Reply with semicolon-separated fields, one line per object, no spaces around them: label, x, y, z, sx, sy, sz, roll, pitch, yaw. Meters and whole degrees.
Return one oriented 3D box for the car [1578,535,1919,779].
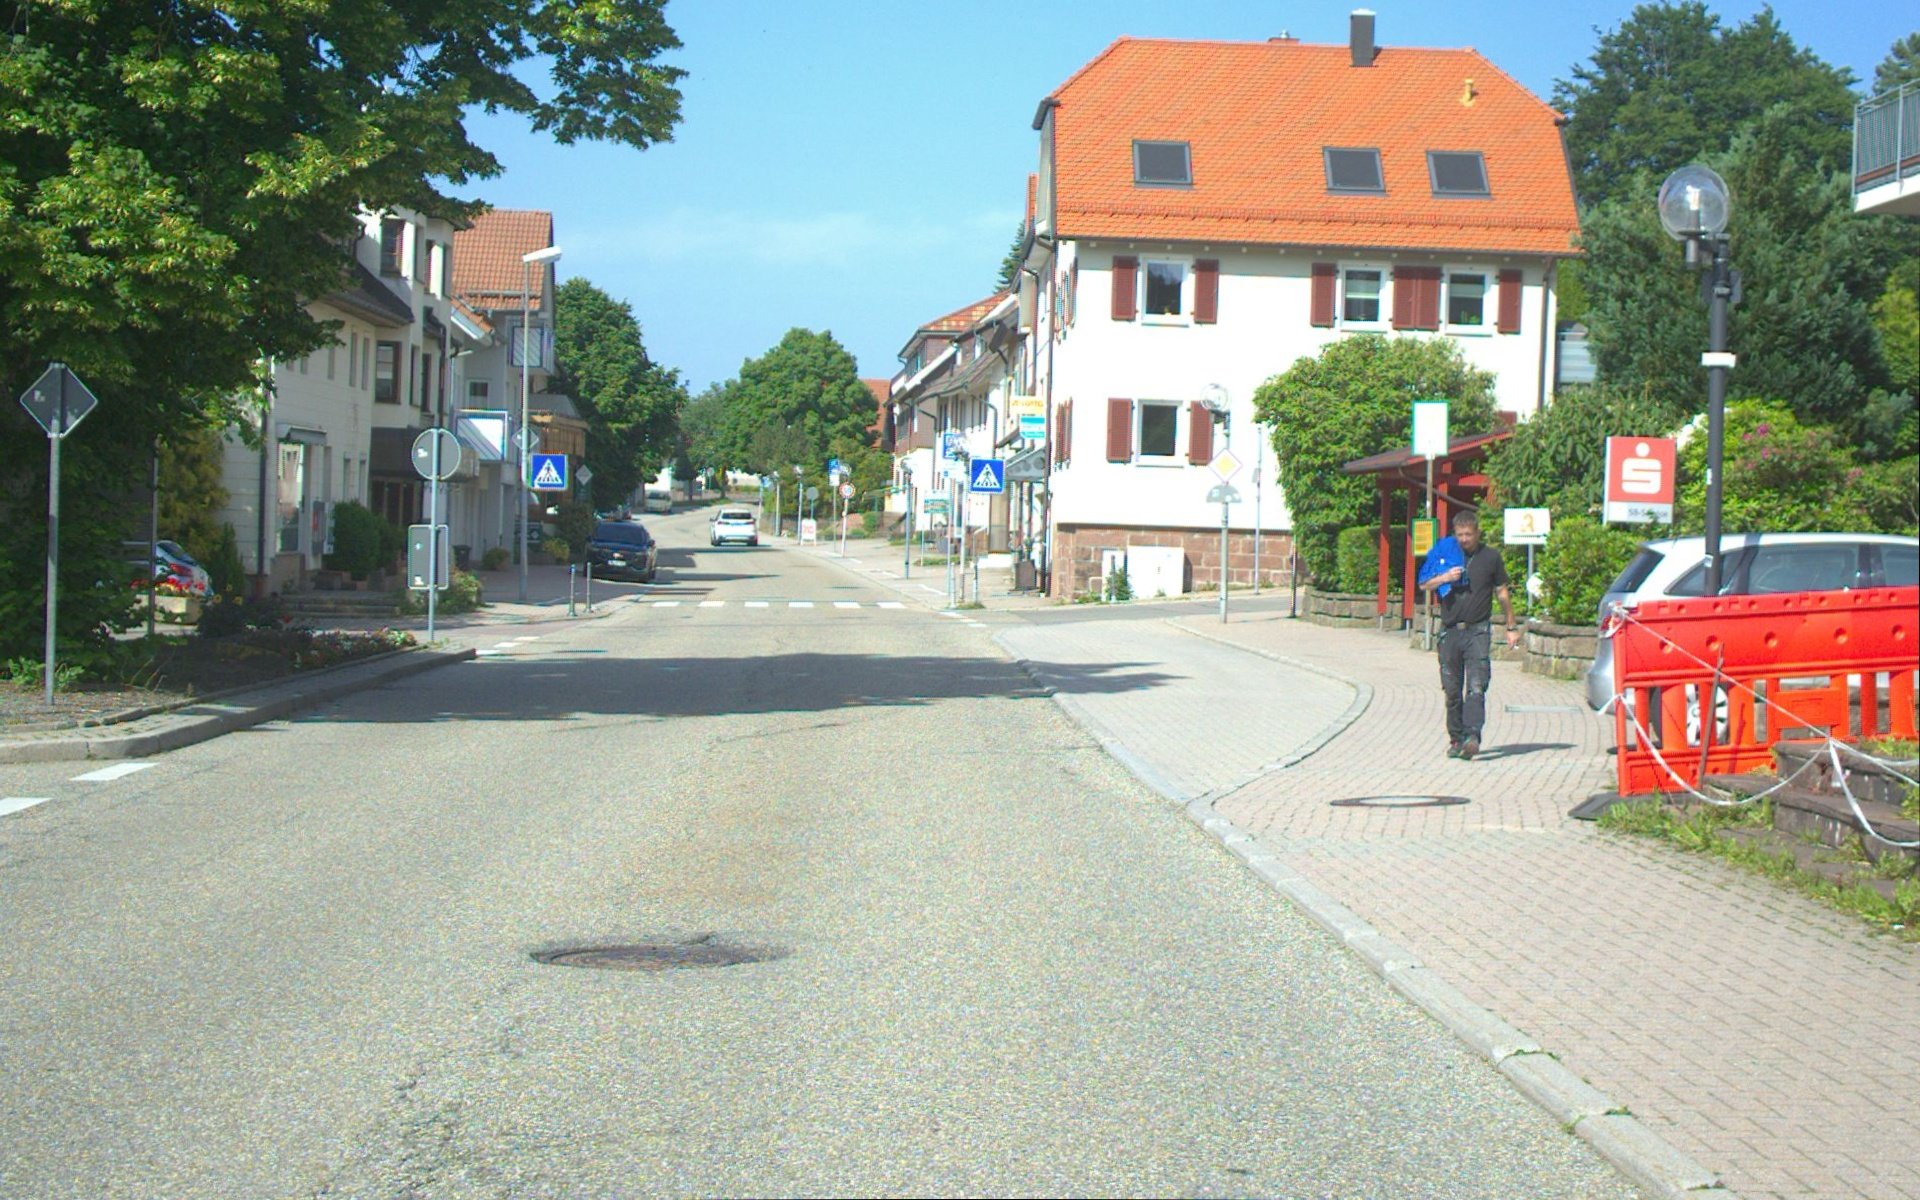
car;6.204;0.365;23.437;3.864;1.553;1.962;1;1;11

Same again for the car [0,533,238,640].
car;-13.203;-0.194;52.676;3.761;1.449;1.816;-1;-4;10

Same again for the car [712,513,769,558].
car;-10.237;-2.991;160.265;2.495;2.007;4.305;-1;1;-5

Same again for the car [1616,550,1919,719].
car;7.597;0.290;30.844;3.234;1.464;1.628;0;1;6

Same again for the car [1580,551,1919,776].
car;6.768;0.481;25.985;3.988;1.544;1.737;2;1;9

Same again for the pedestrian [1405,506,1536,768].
pedestrian;3.535;0.240;23.874;0.799;1.778;0.979;0;1;3

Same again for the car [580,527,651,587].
car;-9.833;-1.248;98.329;1.672;1.528;3.536;5;1;-2

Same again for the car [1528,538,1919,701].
car;7.728;0.171;33.775;3.987;1.543;1.881;0;1;1
